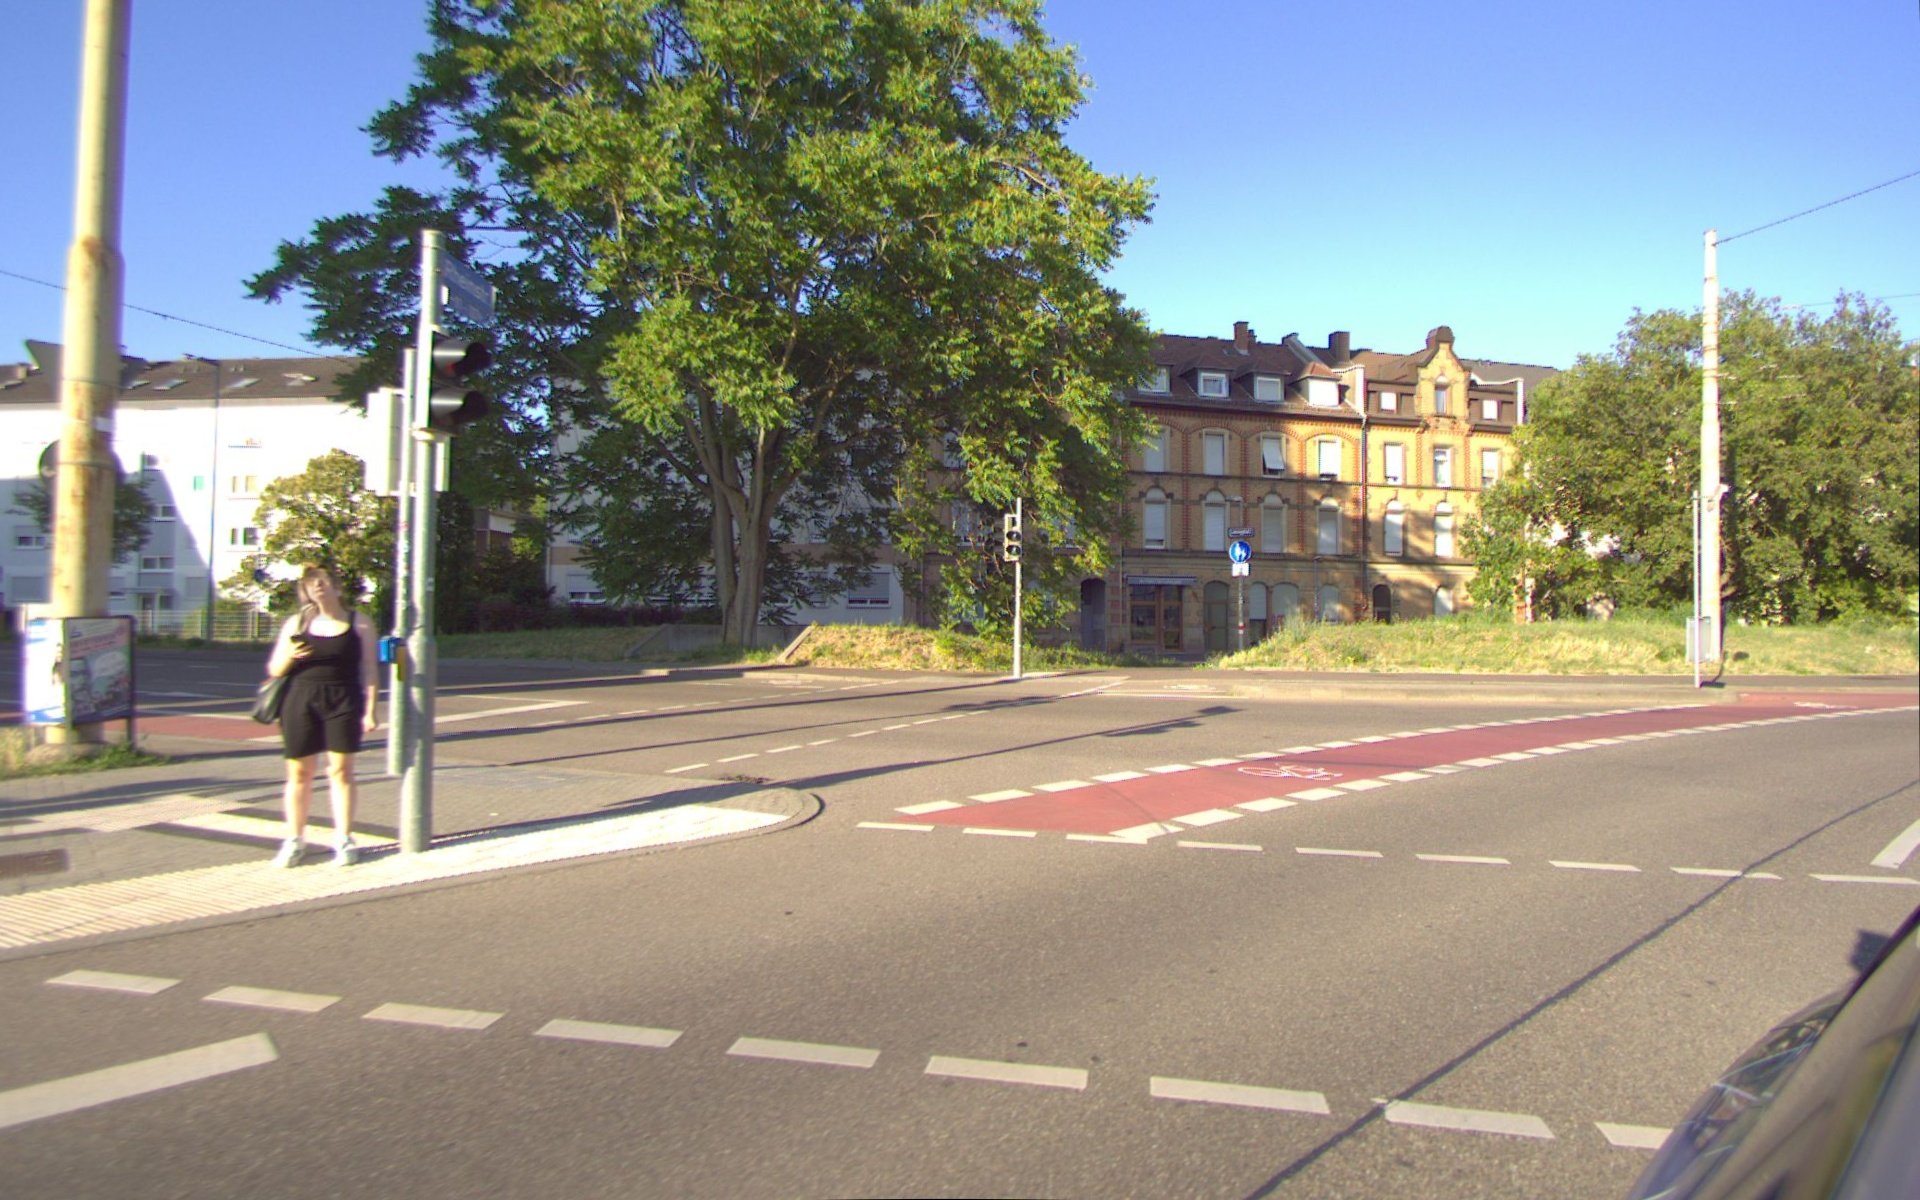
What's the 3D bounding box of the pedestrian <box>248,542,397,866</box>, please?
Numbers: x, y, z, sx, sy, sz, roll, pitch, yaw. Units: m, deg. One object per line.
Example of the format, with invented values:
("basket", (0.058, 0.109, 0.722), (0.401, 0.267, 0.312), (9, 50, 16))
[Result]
("pedestrian", (-3.400, 0.525, 5.437), (0.617, 1.633, 0.438), (0, -1, -24))
